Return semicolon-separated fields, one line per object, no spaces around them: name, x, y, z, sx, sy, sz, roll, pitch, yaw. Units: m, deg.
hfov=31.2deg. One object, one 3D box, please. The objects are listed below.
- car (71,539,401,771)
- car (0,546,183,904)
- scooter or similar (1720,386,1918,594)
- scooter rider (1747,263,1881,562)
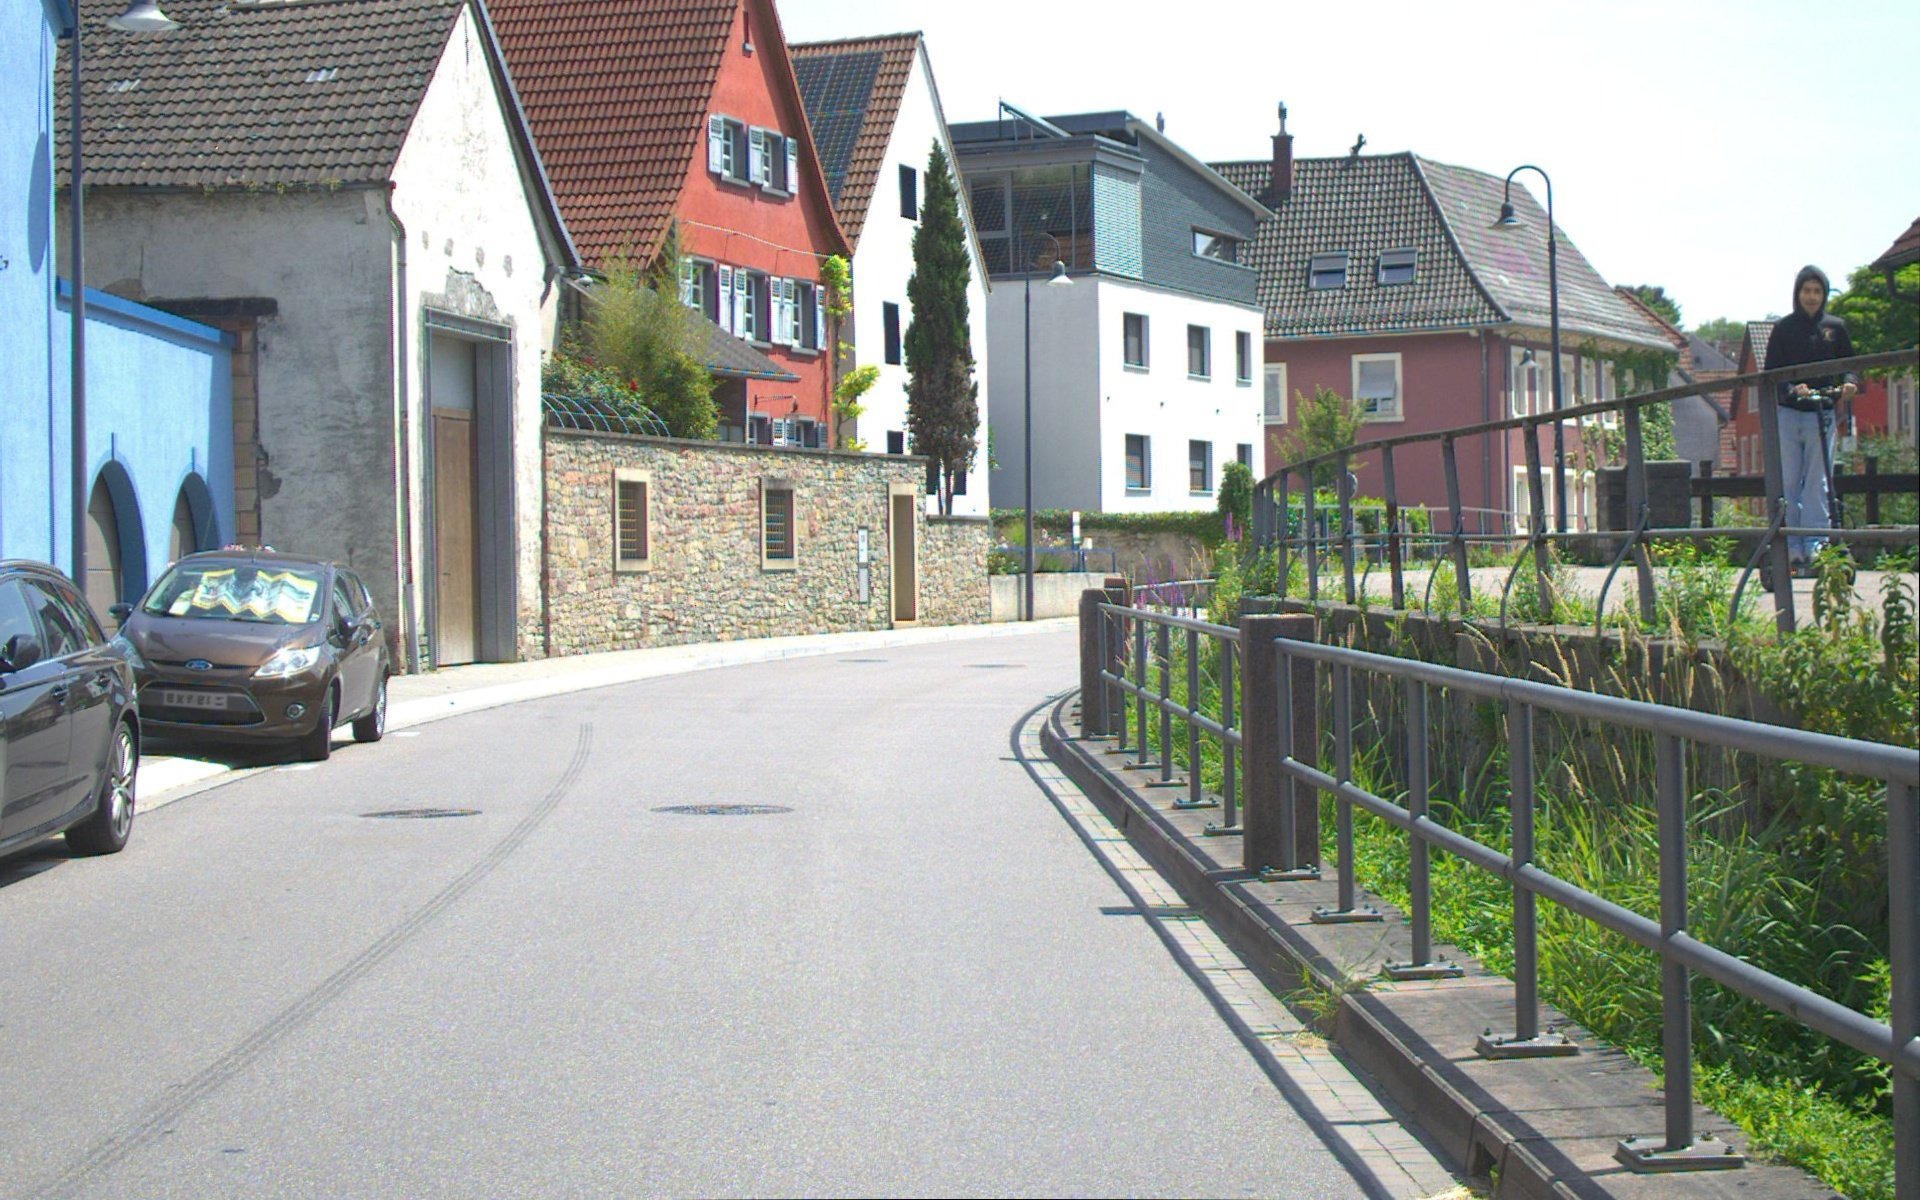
car;-5.340;0.362;25.798;1.717;1.525;3.857;3;0;-2
car;-5.004;0.502;15.569;1.885;1.459;4.669;2;1;0
scooter or similar;4.997;-0.619;20.111;0.641;1.138;1.811;-2;0;-1
scooter rider;5.007;-1.086;20.171;0.641;1.726;0.554;0;0;-1
